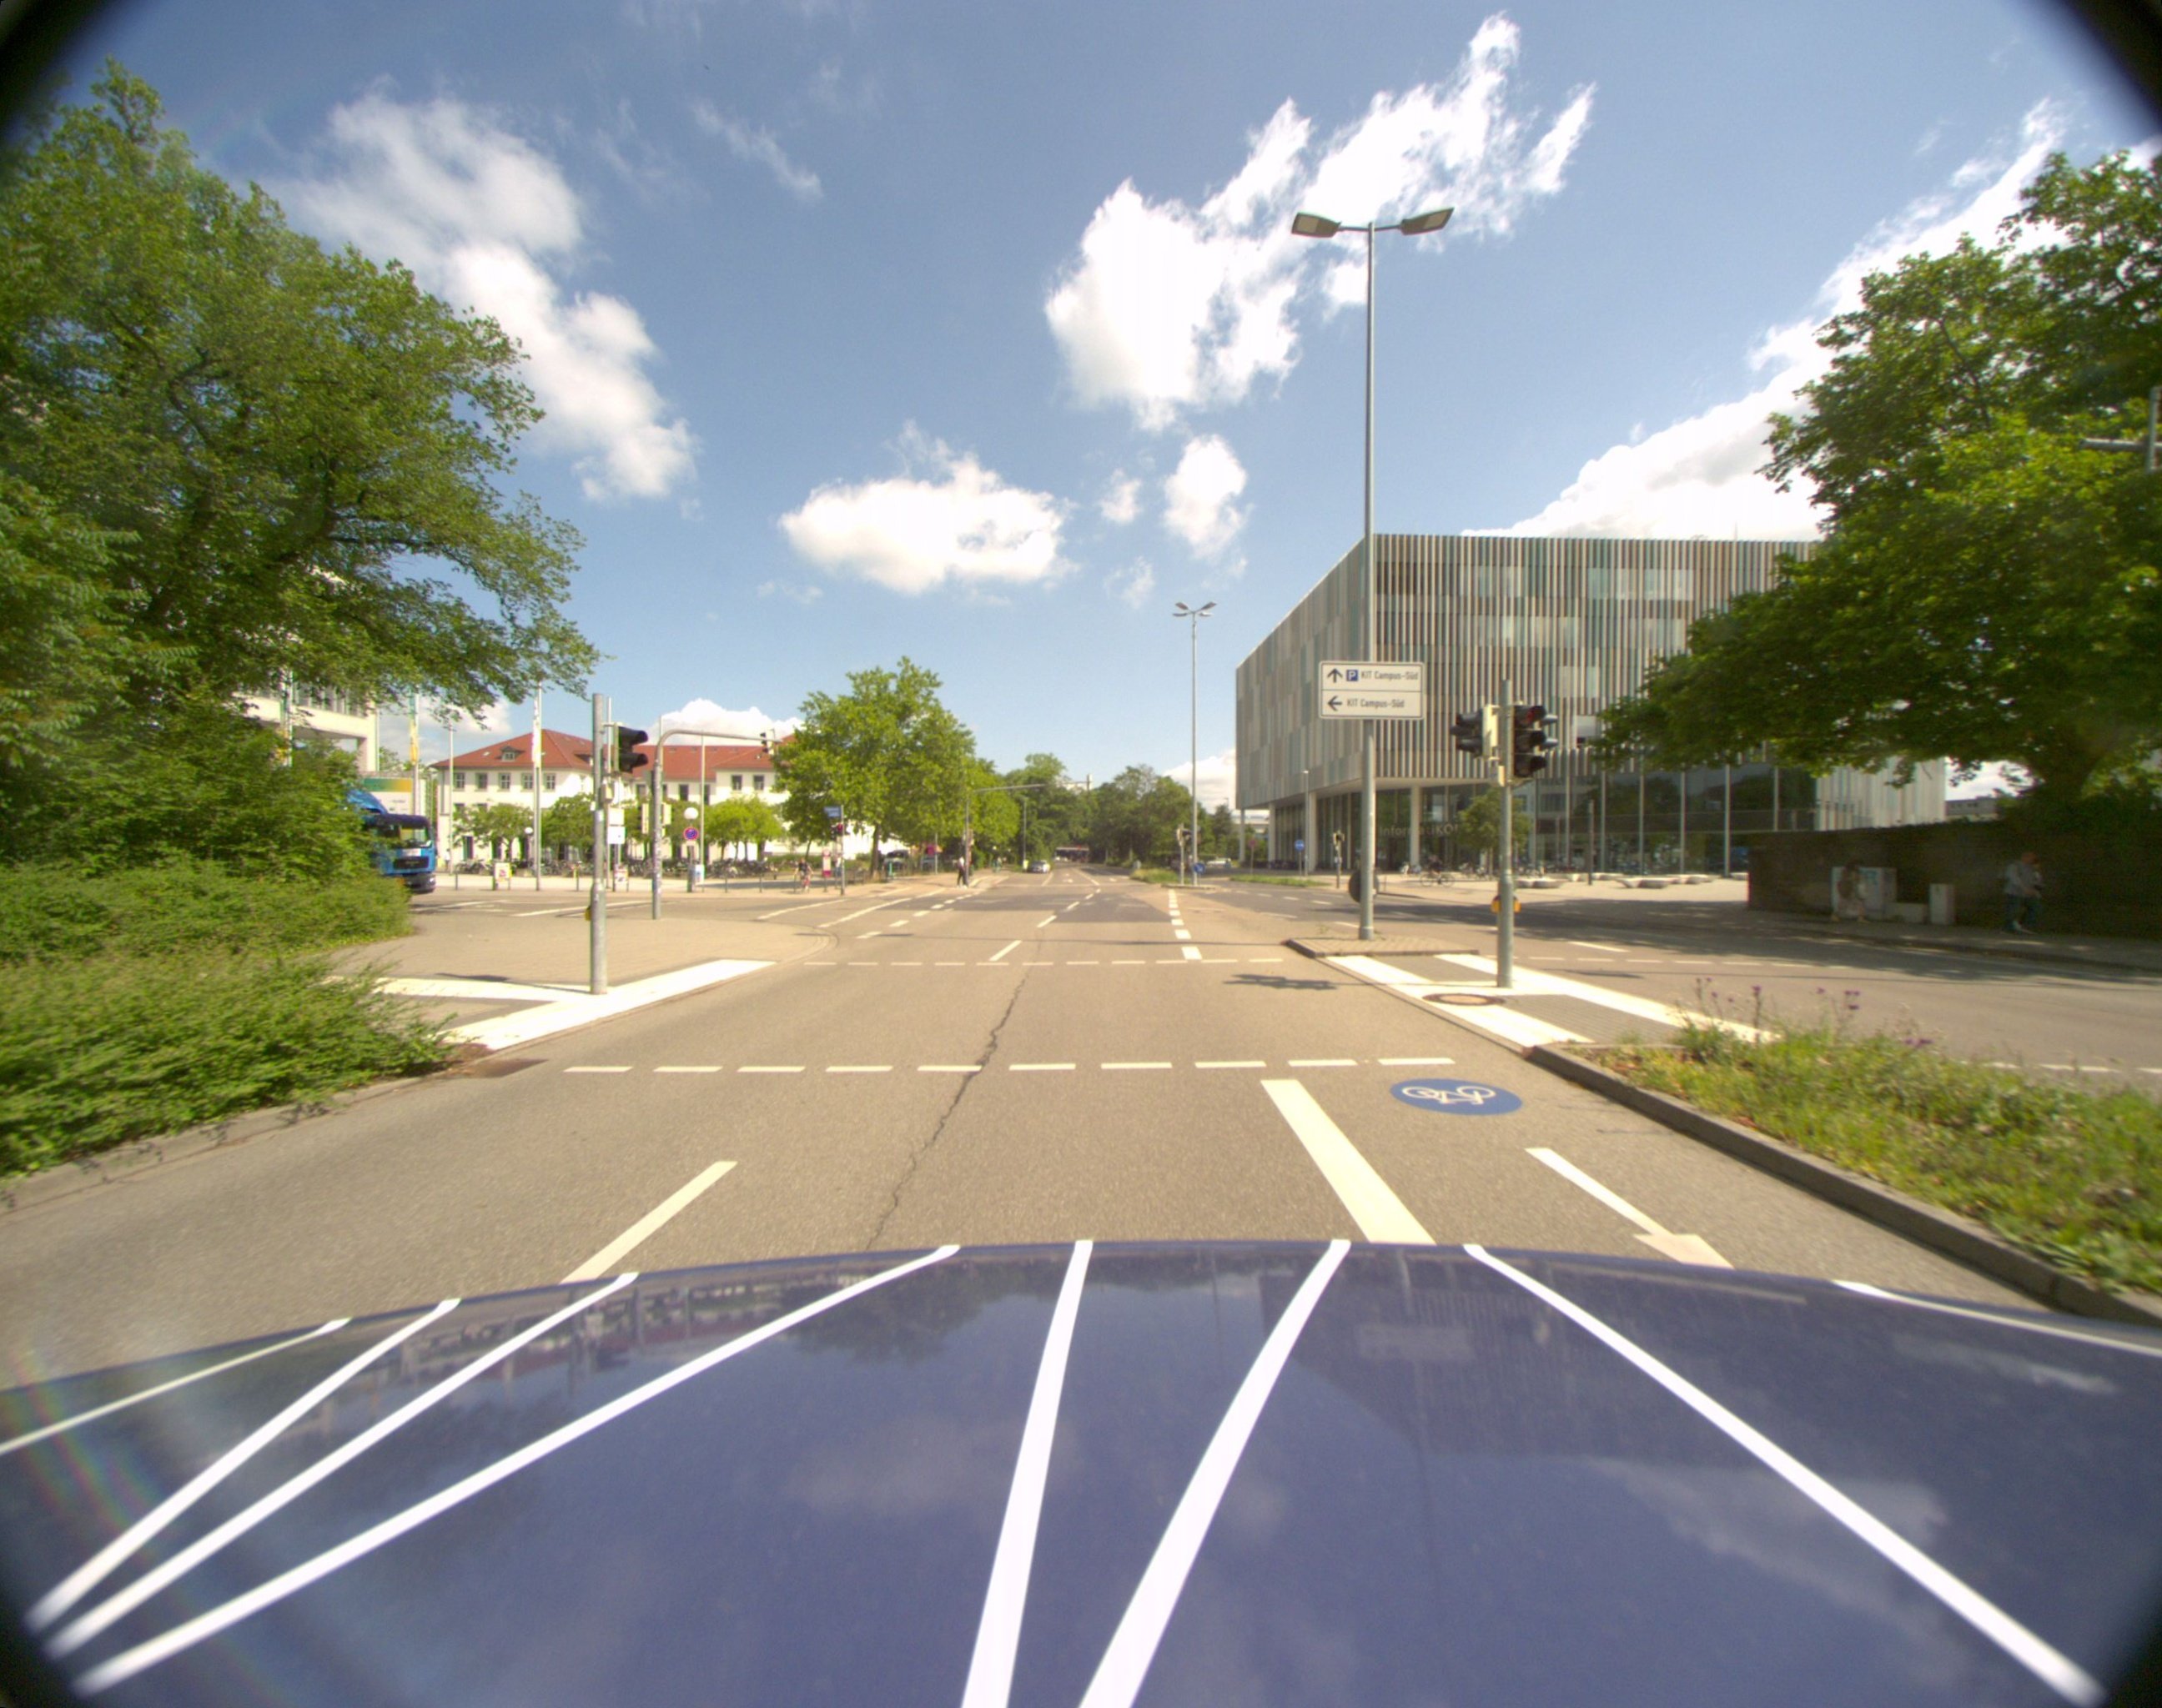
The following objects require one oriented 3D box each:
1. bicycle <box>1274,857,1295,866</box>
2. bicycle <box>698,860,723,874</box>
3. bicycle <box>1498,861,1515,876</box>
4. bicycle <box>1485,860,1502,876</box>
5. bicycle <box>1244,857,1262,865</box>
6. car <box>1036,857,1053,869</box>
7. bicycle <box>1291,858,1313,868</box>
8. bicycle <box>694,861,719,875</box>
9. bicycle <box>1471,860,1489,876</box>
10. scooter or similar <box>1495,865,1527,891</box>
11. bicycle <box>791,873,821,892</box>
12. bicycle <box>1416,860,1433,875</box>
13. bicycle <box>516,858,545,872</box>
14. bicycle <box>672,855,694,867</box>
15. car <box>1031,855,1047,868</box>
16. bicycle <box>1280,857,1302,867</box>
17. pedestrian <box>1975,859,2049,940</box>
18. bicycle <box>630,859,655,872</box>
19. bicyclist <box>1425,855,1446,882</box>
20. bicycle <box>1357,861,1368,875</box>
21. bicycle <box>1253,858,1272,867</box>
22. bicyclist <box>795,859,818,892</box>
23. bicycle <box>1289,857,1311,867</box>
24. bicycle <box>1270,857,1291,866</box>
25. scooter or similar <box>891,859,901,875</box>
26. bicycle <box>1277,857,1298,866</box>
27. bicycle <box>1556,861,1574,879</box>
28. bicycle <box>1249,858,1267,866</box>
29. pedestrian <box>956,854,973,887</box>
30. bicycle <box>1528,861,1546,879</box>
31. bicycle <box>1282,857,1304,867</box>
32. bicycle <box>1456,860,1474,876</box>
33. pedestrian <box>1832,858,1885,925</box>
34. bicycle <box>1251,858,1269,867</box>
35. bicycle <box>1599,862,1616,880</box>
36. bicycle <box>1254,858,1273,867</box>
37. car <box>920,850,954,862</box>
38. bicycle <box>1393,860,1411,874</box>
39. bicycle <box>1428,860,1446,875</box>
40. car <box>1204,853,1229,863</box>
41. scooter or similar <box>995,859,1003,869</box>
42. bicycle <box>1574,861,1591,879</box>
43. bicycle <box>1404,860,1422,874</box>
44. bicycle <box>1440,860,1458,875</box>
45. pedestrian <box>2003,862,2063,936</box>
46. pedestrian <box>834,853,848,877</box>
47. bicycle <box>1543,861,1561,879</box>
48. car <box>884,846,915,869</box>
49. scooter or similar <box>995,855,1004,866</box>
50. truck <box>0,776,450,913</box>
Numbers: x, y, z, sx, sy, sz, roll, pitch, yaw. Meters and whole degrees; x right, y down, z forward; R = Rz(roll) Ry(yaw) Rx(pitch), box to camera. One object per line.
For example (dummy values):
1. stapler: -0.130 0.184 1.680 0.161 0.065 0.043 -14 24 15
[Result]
1. bicycle: 23.696 0.851 88.629 2.218 1.090 0.722 0 0 -6
2. bicycle: -29.685 1.067 60.873 1.673 1.090 0.626 0 0 -6
3. bicycle: 30.462 1.025 54.377 0.720 1.090 2.223 0 0 39
4. bicycle: 29.798 1.018 54.845 0.720 1.090 2.223 0 0 39
5. bicycle: 23.233 0.985 102.478 2.218 1.090 0.722 0 0 -6
6. car: -4.250 1.071 89.060 1.559 1.335 4.001 2 0 2
7. bicycle: 23.855 0.934 82.099 2.218 1.090 0.722 0 0 -6
8. bicycle: -29.562 1.133 60.023 1.673 1.090 0.626 0 0 -6
9. bicycle: 29.125 1.004 55.466 0.720 1.090 2.223 0 0 39
10. scooter or similar: 19.887 1.100 35.133 1.505 1.150 0.502 0 0 -26
11. bicycle: -12.683 1.307 35.041 1.510 0.828 0.621 0 1 41
12. bicycle: 26.650 1.031 58.942 0.720 1.090 2.223 0 0 39
13. bicycle: -41.432 0.811 57.240 1.673 1.090 0.626 0 0 -6
14. bicycle: -36.160 0.673 69.102 1.673 1.090 0.626 0 0 -6
15. car: -4.633 0.844 83.329 1.709 1.321 3.998 2 0 -4
16. bicycle: 23.653 0.872 85.590 2.218 1.090 0.735 0 0 -6
17. pedestrian: 19.463 0.937 15.894 0.643 1.641 0.731 0 1 -4
18. bicycle: -36.217 0.940 62.759 1.673 1.090 0.626 0 0 -6
19. bicyclist: 19.199 0.781 41.194 0.944 1.456 0.633 0 0 33
20. bicycle: 23.203 1.149 62.592 0.547 1.090 1.635 0 0 11
21. bicycle: 22.957 1.048 96.083 2.218 1.090 0.722 0 0 -6
22. bicyclist: -12.630 0.977 34.999 0.916 1.498 0.614 1 1 42
23. bicycle: 23.889 0.915 82.906 2.218 1.090 0.755 0 0 -6
24. bicycle: 23.528 0.888 89.521 2.218 1.090 0.722 0 0 -6
25. scooter or similar: -12.774 0.888 52.448 0.348 1.122 1.168 0 0 1
26. bicycle: 23.524 0.852 86.531 2.218 1.090 0.722 0 0 -6
27. bicycle: 32.702 1.087 51.334 0.745 1.183 2.323 0 0 39
28. bicycle: 22.818 1.033 98.054 2.218 1.083 0.722 0 0 -6
29. pedestrian: -6.457 0.906 42.140 0.701 1.815 0.942 3 1 0
30. bicycle: 31.603 1.104 52.682 0.745 1.183 2.323 0 0 39
31. bicycle: 23.425 0.878 83.788 2.218 1.090 0.722 0 0 -6
32. bicycle: 28.434 1.025 56.259 0.720 1.090 2.223 0 0 39
33. pedestrian: 19.439 0.927 19.009 0.562 1.641 0.727 0 1 -4
34. bicycle: 22.879 1.069 97.149 2.218 1.090 0.722 0 0 -6
35. bicycle: 34.206 1.093 49.352 0.720 1.090 2.223 0 0 39
36. bicycle: 22.852 1.057 95.009 2.218 1.090 0.722 0 0 -6
37. car: -17.366 0.290 91.649 4.000 1.416 1.756 0 0 -9
38. bicycle: 25.321 1.043 59.929 0.720 1.090 2.223 0 0 39
39. bicycle: 27.260 1.033 58.137 0.720 1.090 2.223 0 0 39
40. car: 23.119 0.688 129.308 3.997 1.676 1.646 0 0 1
41. scooter or similar: -8.281 1.010 76.936 0.518 1.071 1.442 0 0 7
42. bicycle: 33.494 1.073 50.736 0.745 1.183 2.323 0 0 39
43. bicycle: 25.979 1.023 59.392 0.720 1.090 2.223 0 0 39
44. bicycle: 27.919 1.042 57.595 0.720 1.090 2.223 0 0 39
45. pedestrian: 20.117 0.938 16.069 0.477 1.531 0.616 0 1 -4
46. pedestrian: -16.096 0.731 50.896 0.640 1.640 0.740 0 1 -43
47. bicycle: 32.289 1.092 52.075 0.745 1.183 2.323 0 0 39
48. car: -16.373 0.324 68.839 1.999 2.002 4.900 0 0 -5
49. scooter or similar: -8.513 0.688 79.454 0.517 1.065 1.371 0 0 15
50. truck: -25.962 -0.279 23.521 10.138 3.860 2.777 1 2 -4
